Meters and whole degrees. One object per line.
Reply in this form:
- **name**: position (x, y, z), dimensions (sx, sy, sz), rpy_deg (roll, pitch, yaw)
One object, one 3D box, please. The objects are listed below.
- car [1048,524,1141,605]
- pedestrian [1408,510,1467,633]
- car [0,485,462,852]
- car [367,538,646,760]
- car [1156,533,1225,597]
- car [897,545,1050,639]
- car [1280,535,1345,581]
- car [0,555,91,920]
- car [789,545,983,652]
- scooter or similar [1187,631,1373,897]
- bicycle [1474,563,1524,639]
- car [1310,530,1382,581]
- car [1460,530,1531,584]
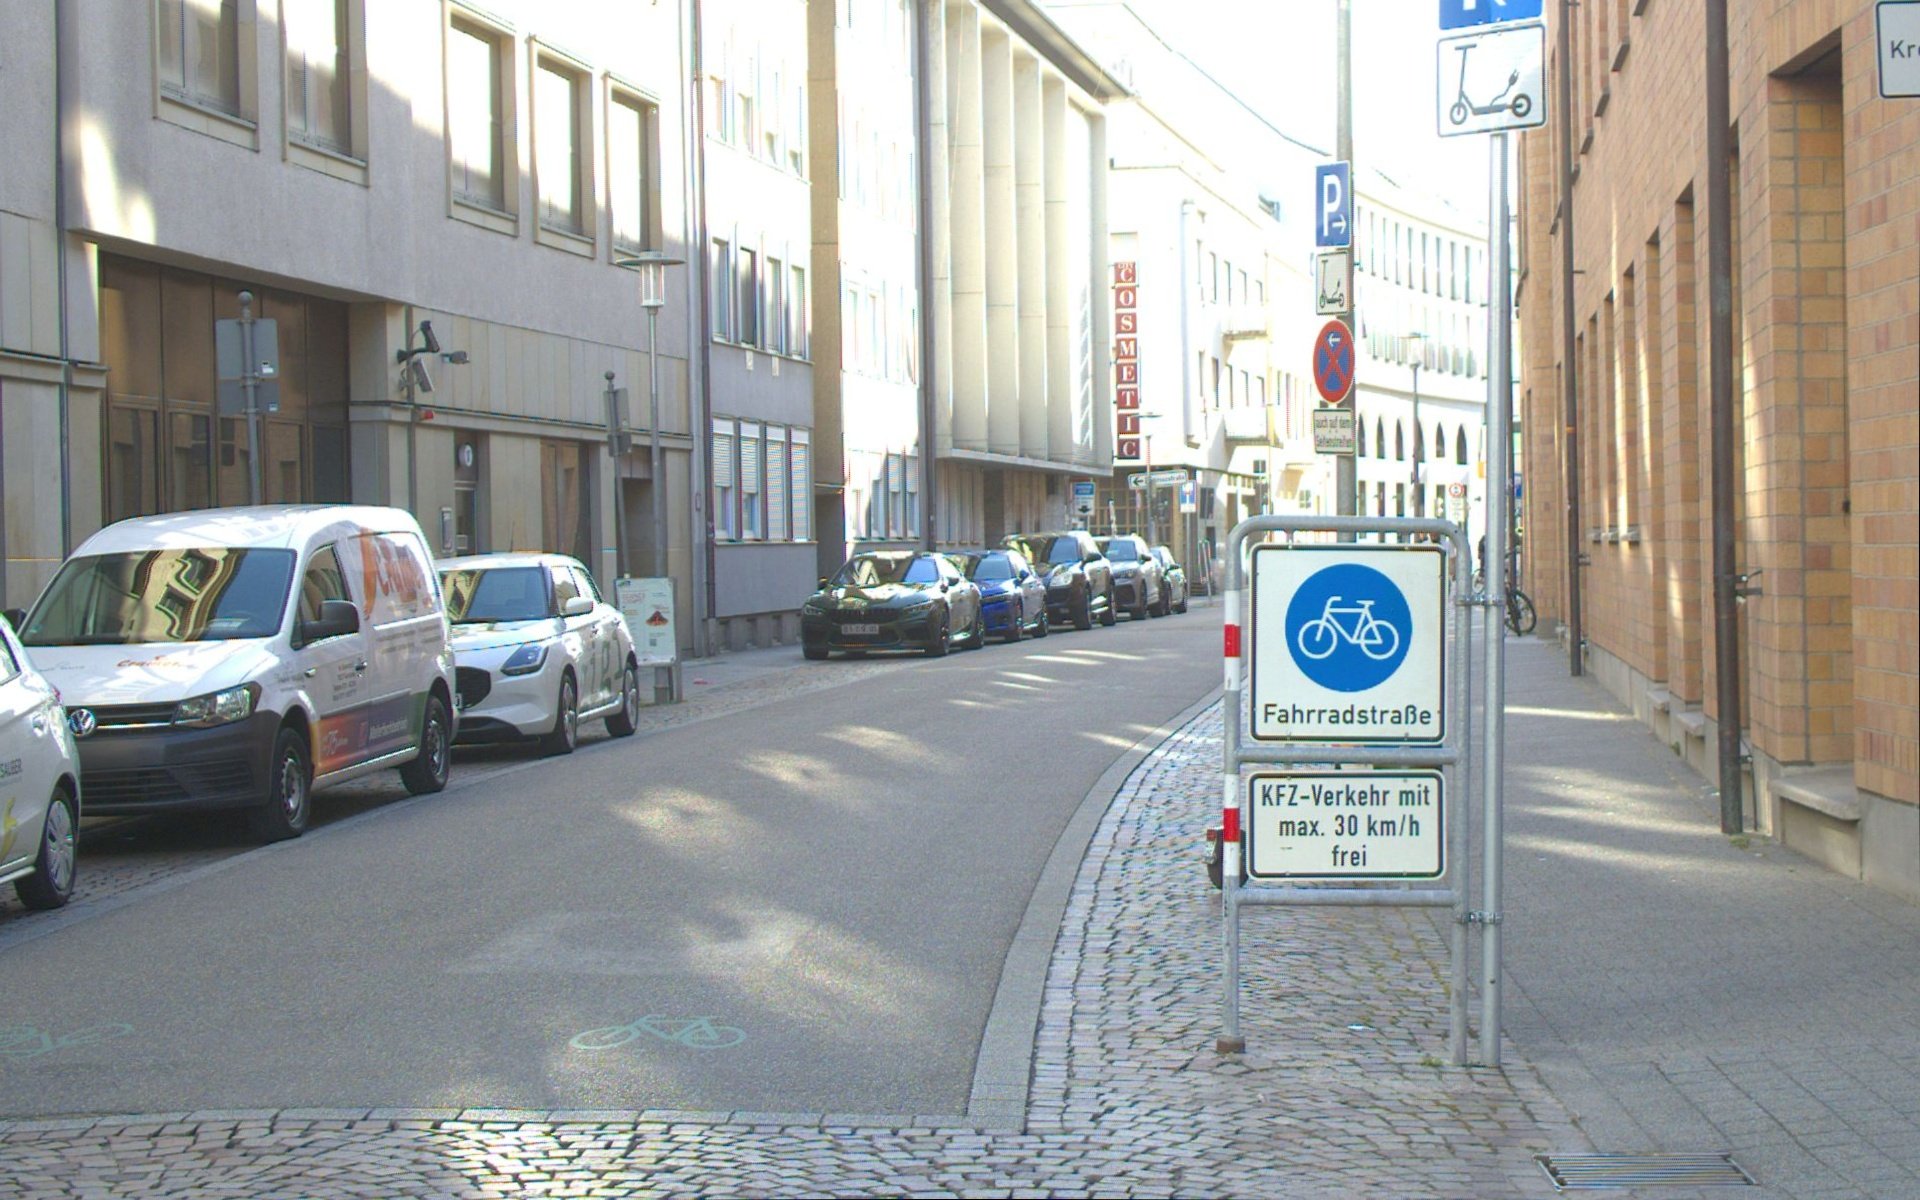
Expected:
- **car**: position (2.591, -0.692, 65.766), dimensions (1.339, 1.489, 3.509), rpy_deg (-1, 1, 9)
- **pedestrian**: position (6.853, -0.412, 49.398), dimensions (0.664, 1.724, 0.840), rpy_deg (2, 0, -1)
- **car**: position (-4.232, 0.306, 19.705), dimensions (1.670, 1.812, 4.551), rpy_deg (-2, 1, 5)
- **car**: position (-3.348, 0.319, 25.896), dimensions (1.271, 1.501, 3.401), rpy_deg (-2, 1, 6)
- **car**: position (5.614, -0.856, 83.409), dimensions (1.339, 1.489, 3.346), rpy_deg (-1, 1, 9)
- **car**: position (0.253, -0.148, 52.832), dimensions (1.725, 1.336, 3.999), rpy_deg (-1, 1, 9)
- **car**: position (11.103, -1.339, 108.106), dimensions (1.690, 1.365, 3.616), rpy_deg (-1, 1, 11)
- **car**: position (-4.839, 0.615, 13.840), dimensions (1.670, 1.501, 3.794), rpy_deg (-2, 1, 0)
- **car**: position (-0.948, -0.048, 46.442), dimensions (1.882, 1.327, 4.099), rpy_deg (-1, 1, 9)
- **scooter or similar**: position (1.409, 0.717, 15.162), dimensions (0.771, 1.132, 0.269), rpy_deg (2, 0, 2)
- **bicycle**: position (7.338, -0.001, 46.888), dimensions (0.511, 0.990, 2.647), rpy_deg (0, 1, 6)
- **car**: position (10.979, -1.283, 97.607), dimensions (1.690, 1.365, 3.616), rpy_deg (-1, 1, 11)
- **car**: position (14.125, -1.148, 90.559), dimensions (1.690, 1.365, 3.616), rpy_deg (-1, 1, 11)
